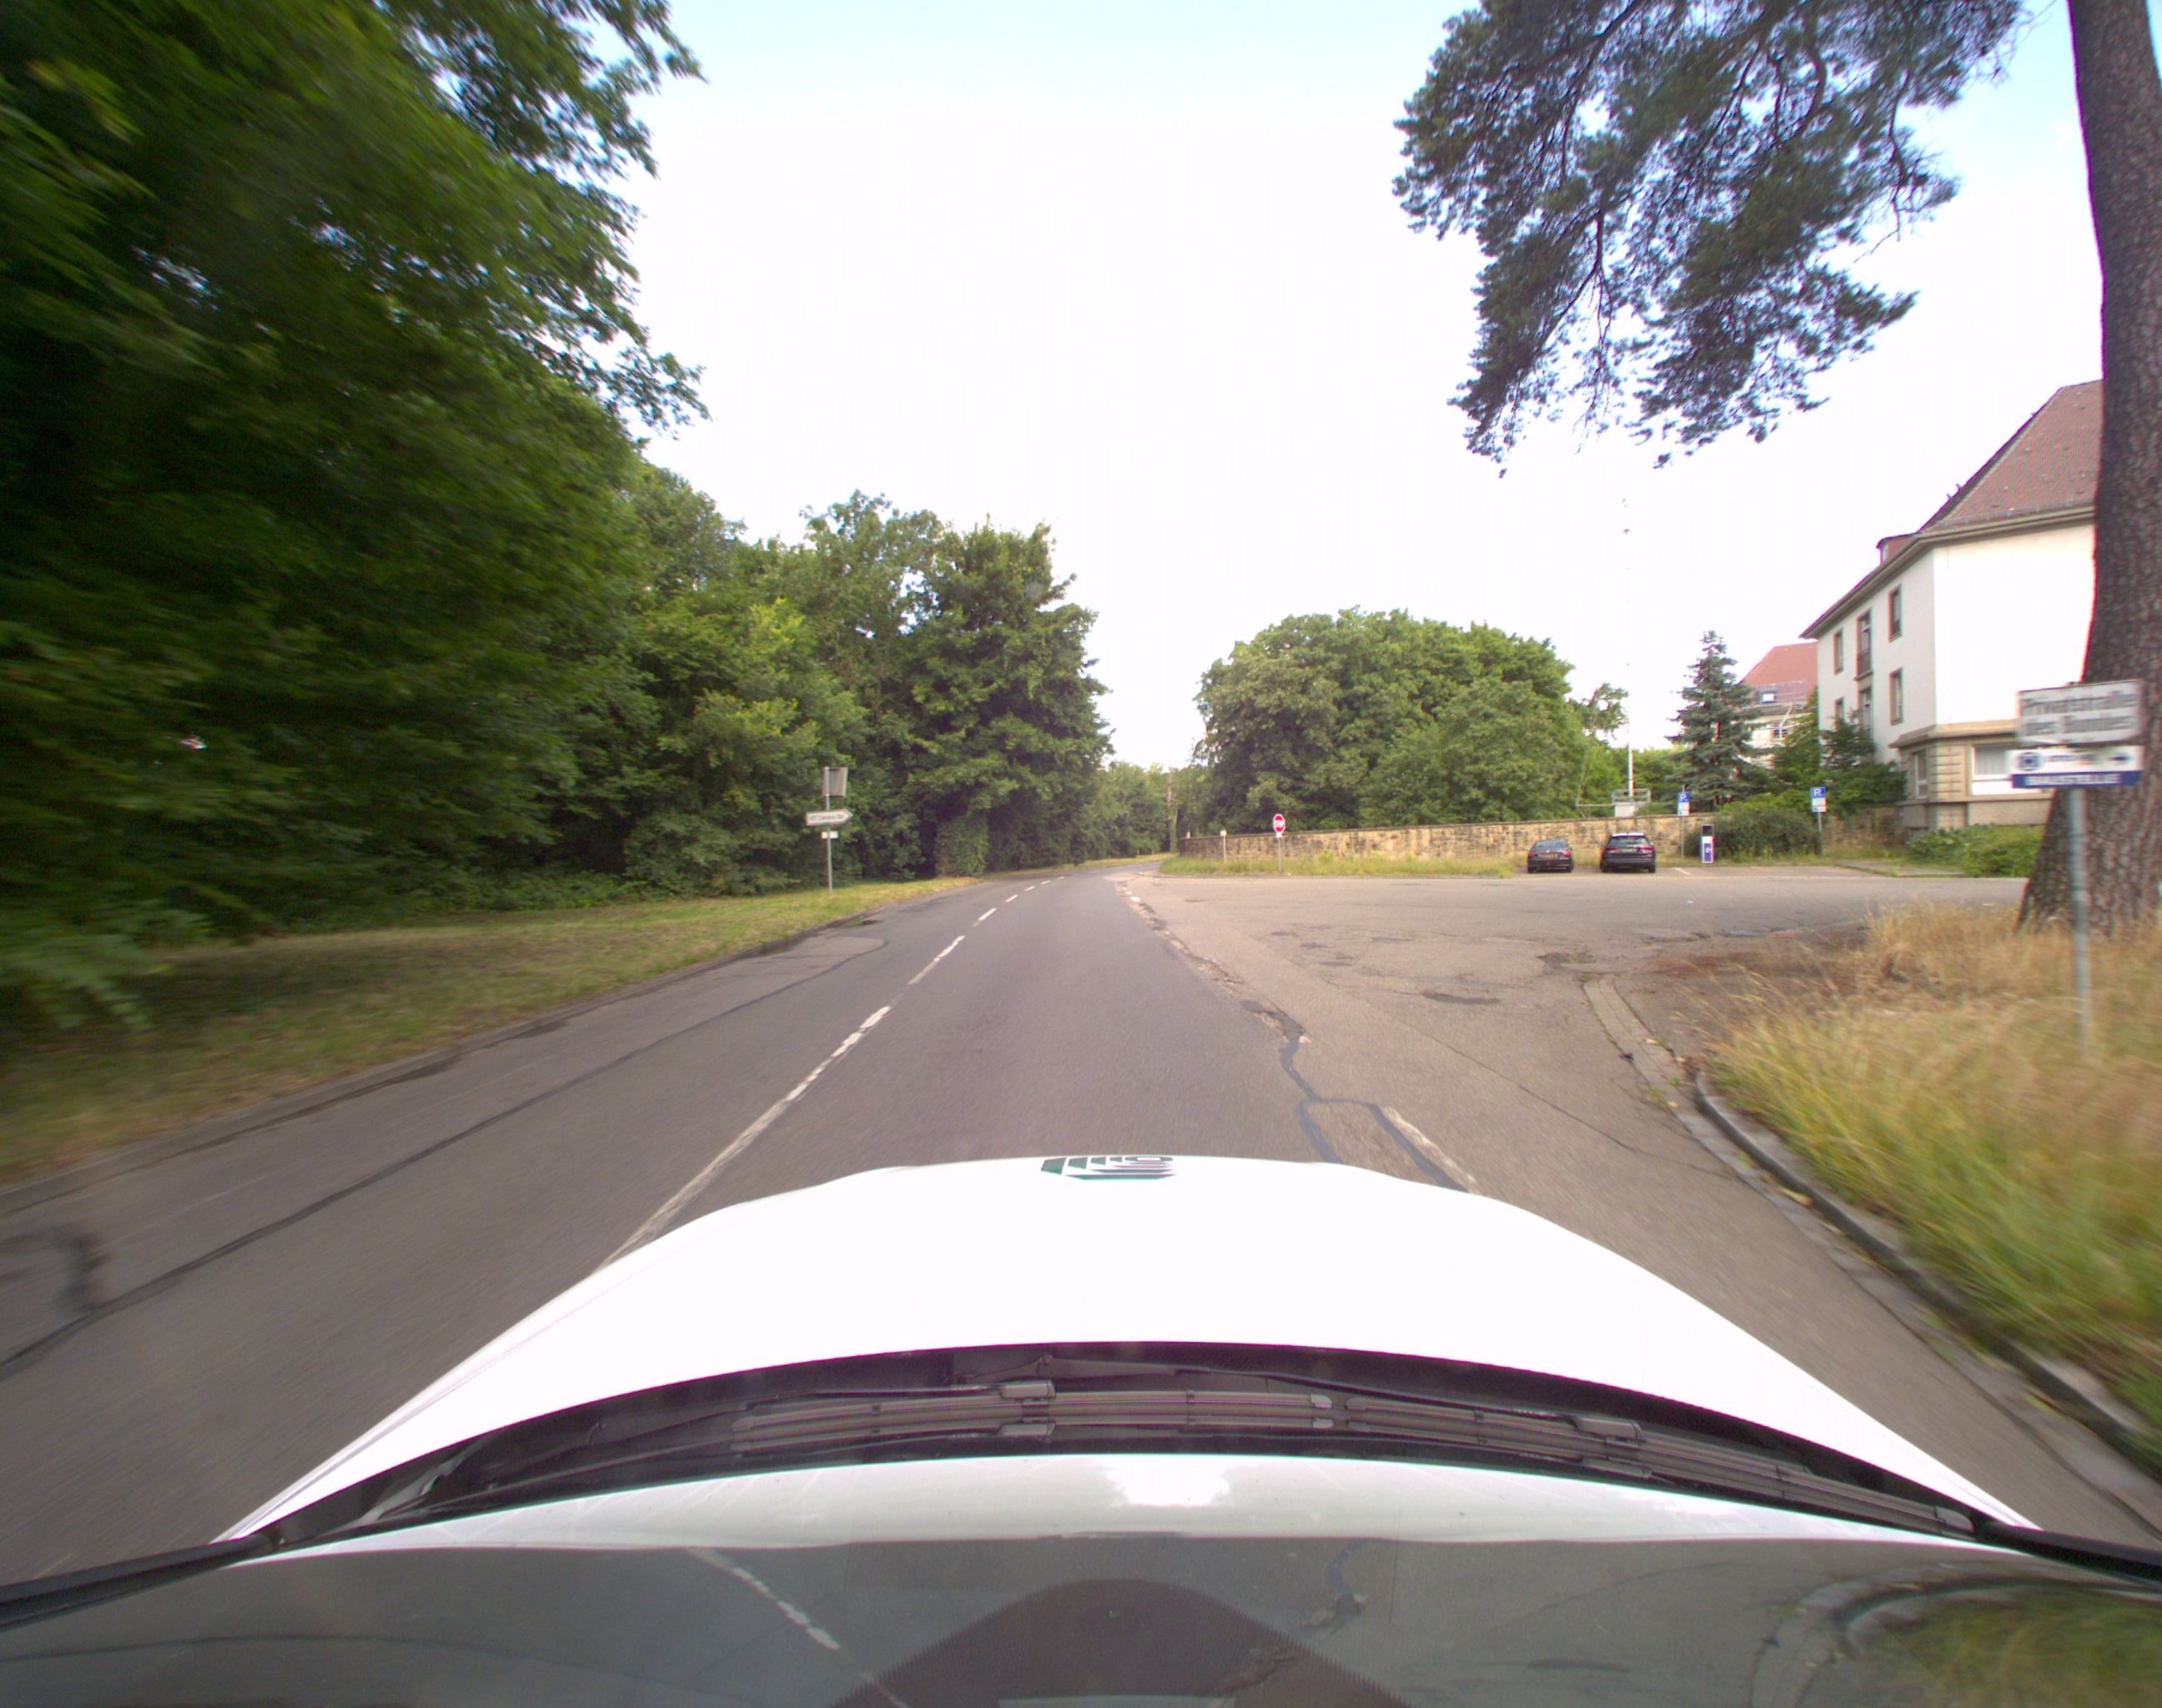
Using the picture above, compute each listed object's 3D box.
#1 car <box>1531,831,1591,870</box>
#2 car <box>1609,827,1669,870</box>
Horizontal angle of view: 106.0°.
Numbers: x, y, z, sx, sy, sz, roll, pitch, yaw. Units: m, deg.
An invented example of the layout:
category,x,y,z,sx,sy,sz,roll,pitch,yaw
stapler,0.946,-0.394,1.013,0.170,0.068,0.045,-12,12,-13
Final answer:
category,x,y,z,sx,sy,sz,roll,pitch,yaw
car,20.571,-0.182,34.836,1.855,1.441,4.026,-2,2,35
car,22.519,-0.257,32.907,1.875,1.546,4.026,-2,2,34
